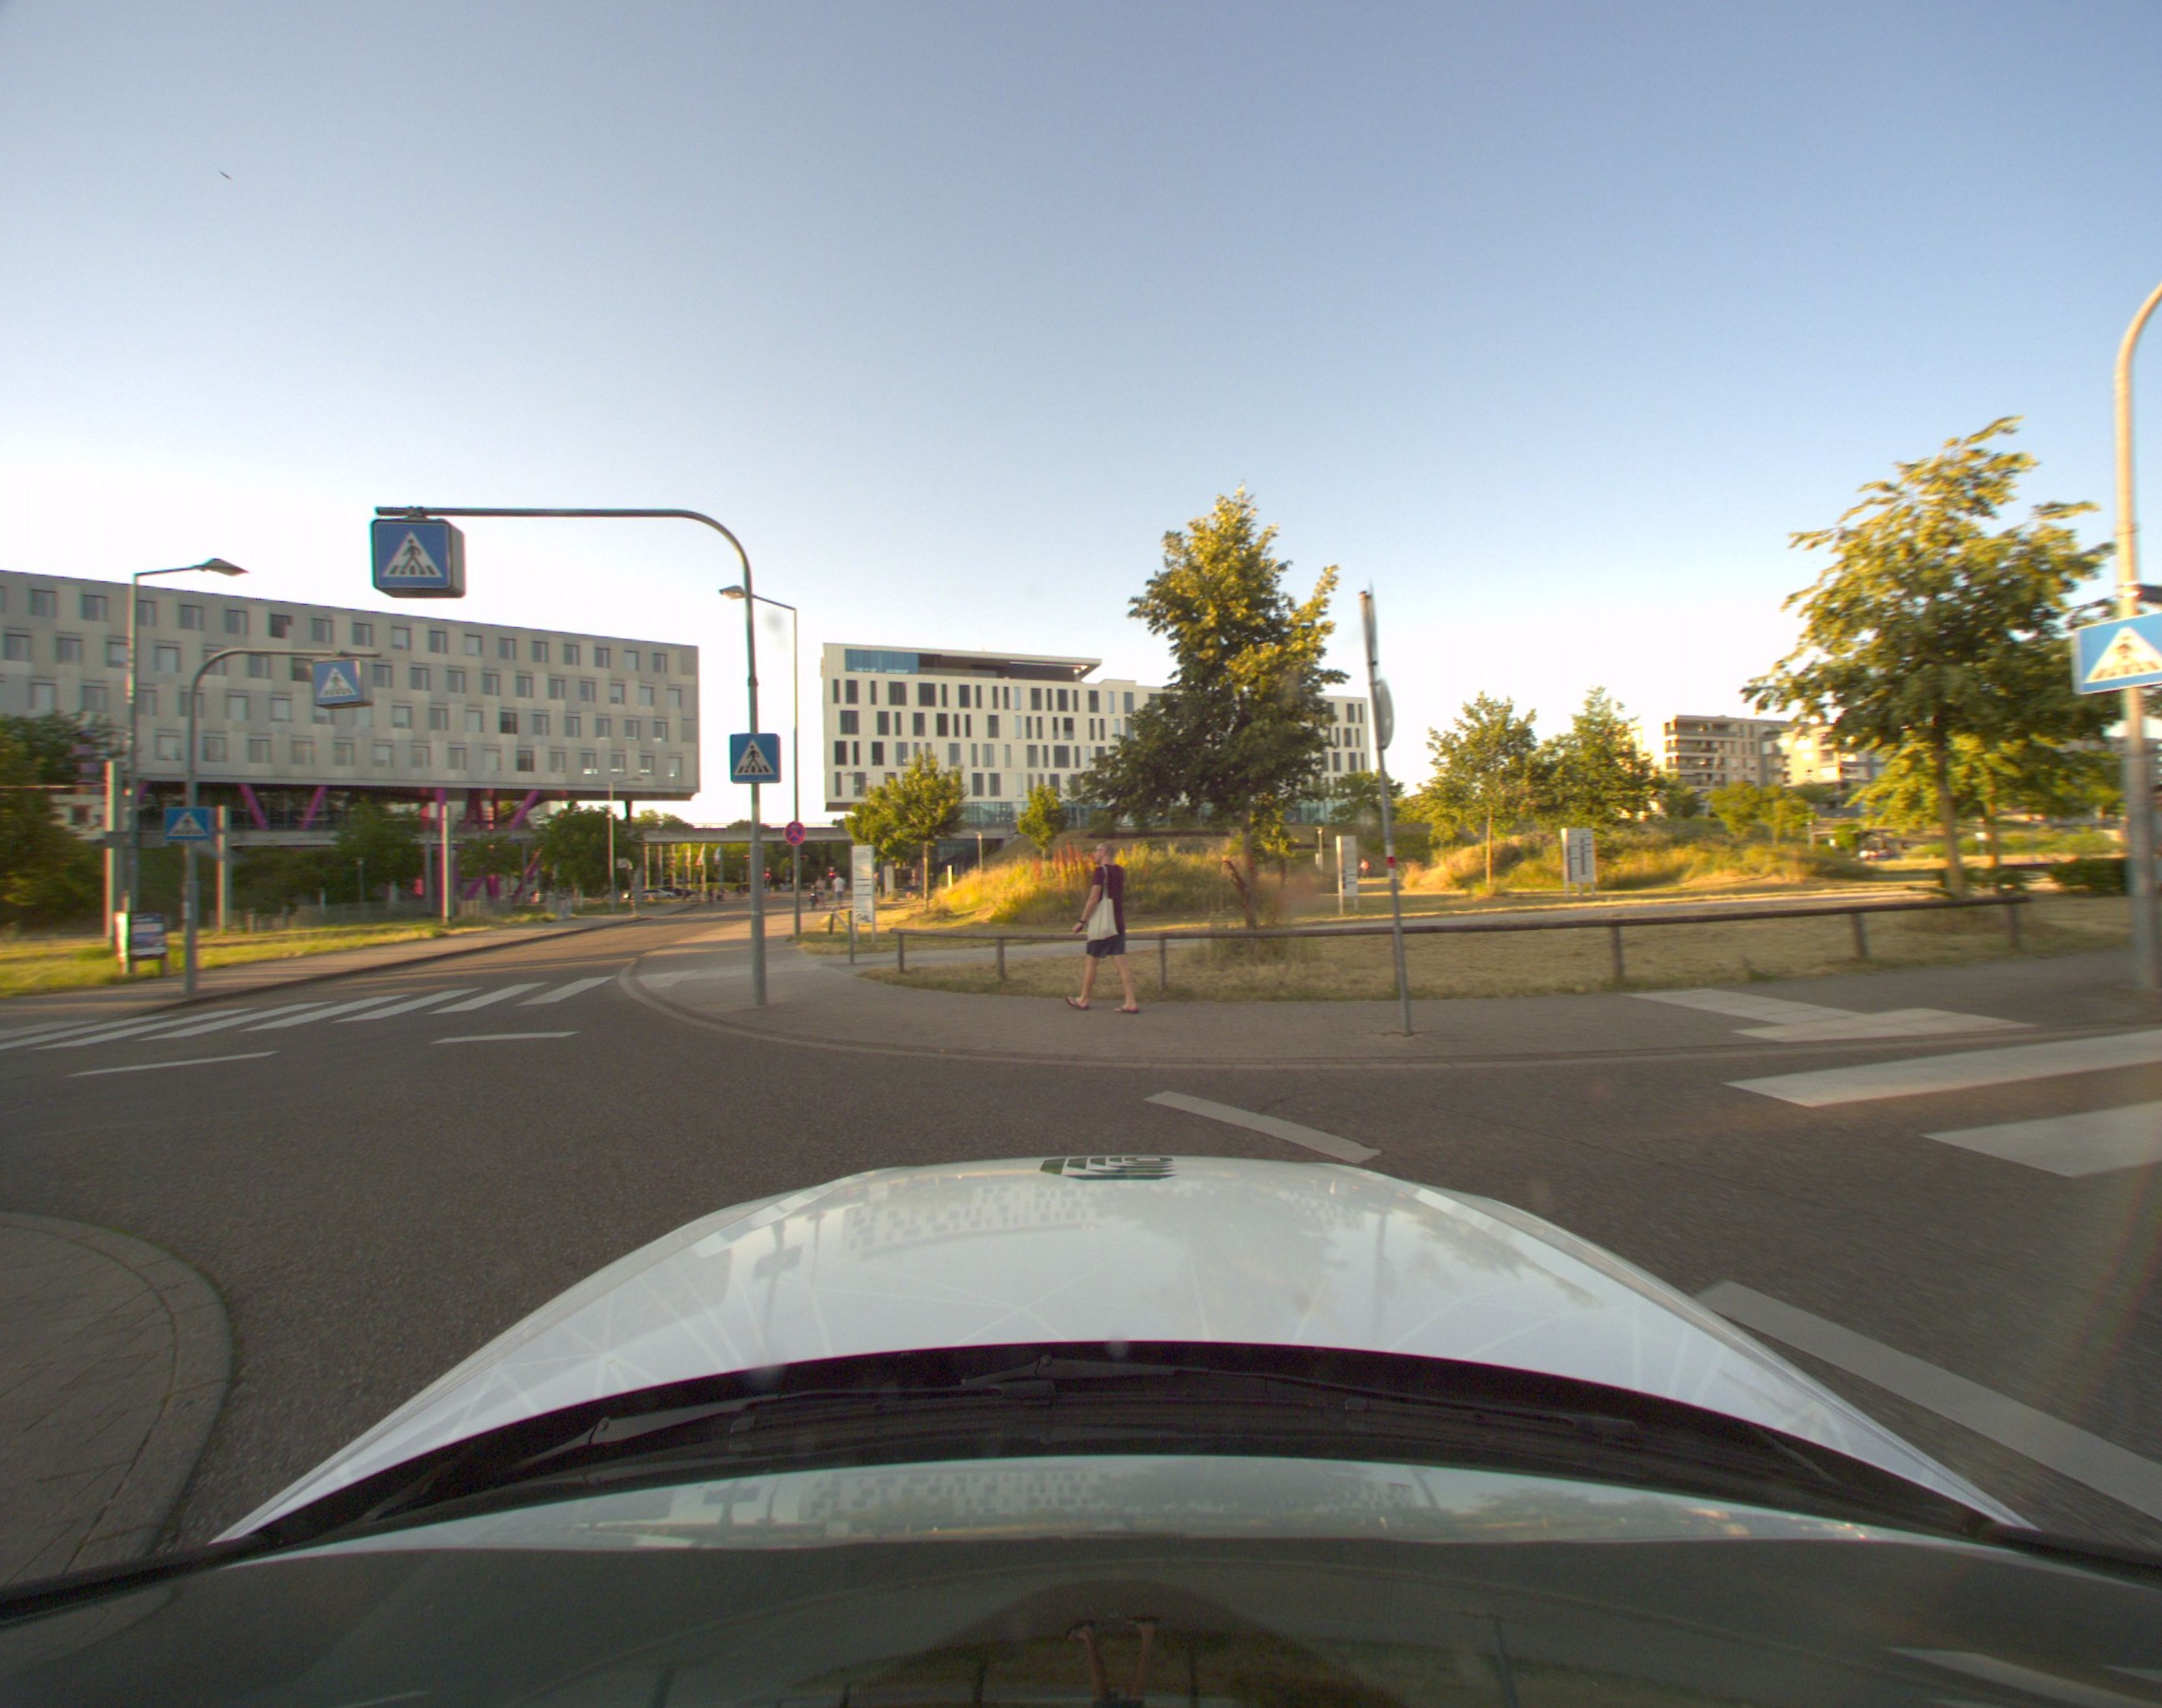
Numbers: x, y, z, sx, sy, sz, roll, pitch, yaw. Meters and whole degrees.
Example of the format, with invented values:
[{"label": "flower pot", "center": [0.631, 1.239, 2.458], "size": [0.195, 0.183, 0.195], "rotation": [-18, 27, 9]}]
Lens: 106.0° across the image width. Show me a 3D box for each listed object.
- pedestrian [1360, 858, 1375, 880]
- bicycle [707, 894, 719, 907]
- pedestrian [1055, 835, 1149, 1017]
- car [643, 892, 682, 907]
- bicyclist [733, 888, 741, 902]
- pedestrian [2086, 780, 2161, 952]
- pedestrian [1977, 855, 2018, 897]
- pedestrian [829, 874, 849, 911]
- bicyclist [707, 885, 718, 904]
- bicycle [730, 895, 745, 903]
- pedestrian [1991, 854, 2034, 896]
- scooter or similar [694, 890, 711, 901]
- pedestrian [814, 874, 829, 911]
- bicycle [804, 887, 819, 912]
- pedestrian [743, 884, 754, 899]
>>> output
[{"label": "pedestrian", "center": [23.582, 1.231, 67.076], "size": [0.815, 1.766, 0.831], "rotation": [-1, -1, -11]}, {"label": "bicycle", "center": [-32.725, 4.104, 72.409], "size": [0.539, 1.043, 1.916], "rotation": [-1, -1, -13]}, {"label": "pedestrian", "center": [0.202, 0.713, 8.521], "size": [0.733, 1.784, 0.797], "rotation": [-1, -1, -16]}, {"label": "car", "center": [-56.165, 6.098, 109.387], "size": [4.429, 1.724, 1.822], "rotation": [-1, -1, -20]}, {"label": "bicyclist", "center": [-43.242, 5.108, 102.354], "size": [0.770, 1.704, 0.508], "rotation": [-1, -1, -27]}, {"label": "pedestrian", "center": [11.226, 0.116, 8.389], "size": [0.799, 1.730, 0.765], "rotation": [-1, -1, -9]}, {"label": "pedestrian", "center": [22.336, 0.535, 19.849], "size": [0.481, 1.005, 0.497], "rotation": [-1, -1, -19]}, {"label": "pedestrian", "center": [-11.915, 1.871, 40.148], "size": [0.832, 1.766, 0.815], "rotation": [-1, -1, -11]}, {"label": "bicyclist", "center": [-32.746, 3.622, 72.376], "size": [0.615, 1.662, 1.031], "rotation": [-1, -1, -13]}, {"label": "bicycle", "center": [-43.161, 5.618, 102.374], "size": [1.702, 0.948, 0.507], "rotation": [-1, -1, -27]}, {"label": "pedestrian", "center": [22.994, 0.520, 20.098], "size": [0.571, 1.005, 0.497], "rotation": [-1, -1, -19]}, {"label": "scooter or similar", "center": [-47.098, 5.161, 101.328], "size": [1.870, 1.174, 0.757], "rotation": [-1, -1, -27]}, {"label": "pedestrian", "center": [-13.075, 1.922, 41.059], "size": [0.595, 1.802, 0.815], "rotation": [-1, -1, -11]}, {"label": "bicycle", "center": [-13.532, 2.257, 40.888], "size": [0.450, 1.169, 1.933], "rotation": [-1, -1, -12]}, {"label": "pedestrian", "center": [-40.832, 4.570, 99.967], "size": [1.061, 1.834, 0.886], "rotation": [-1, -1, -32]}]
